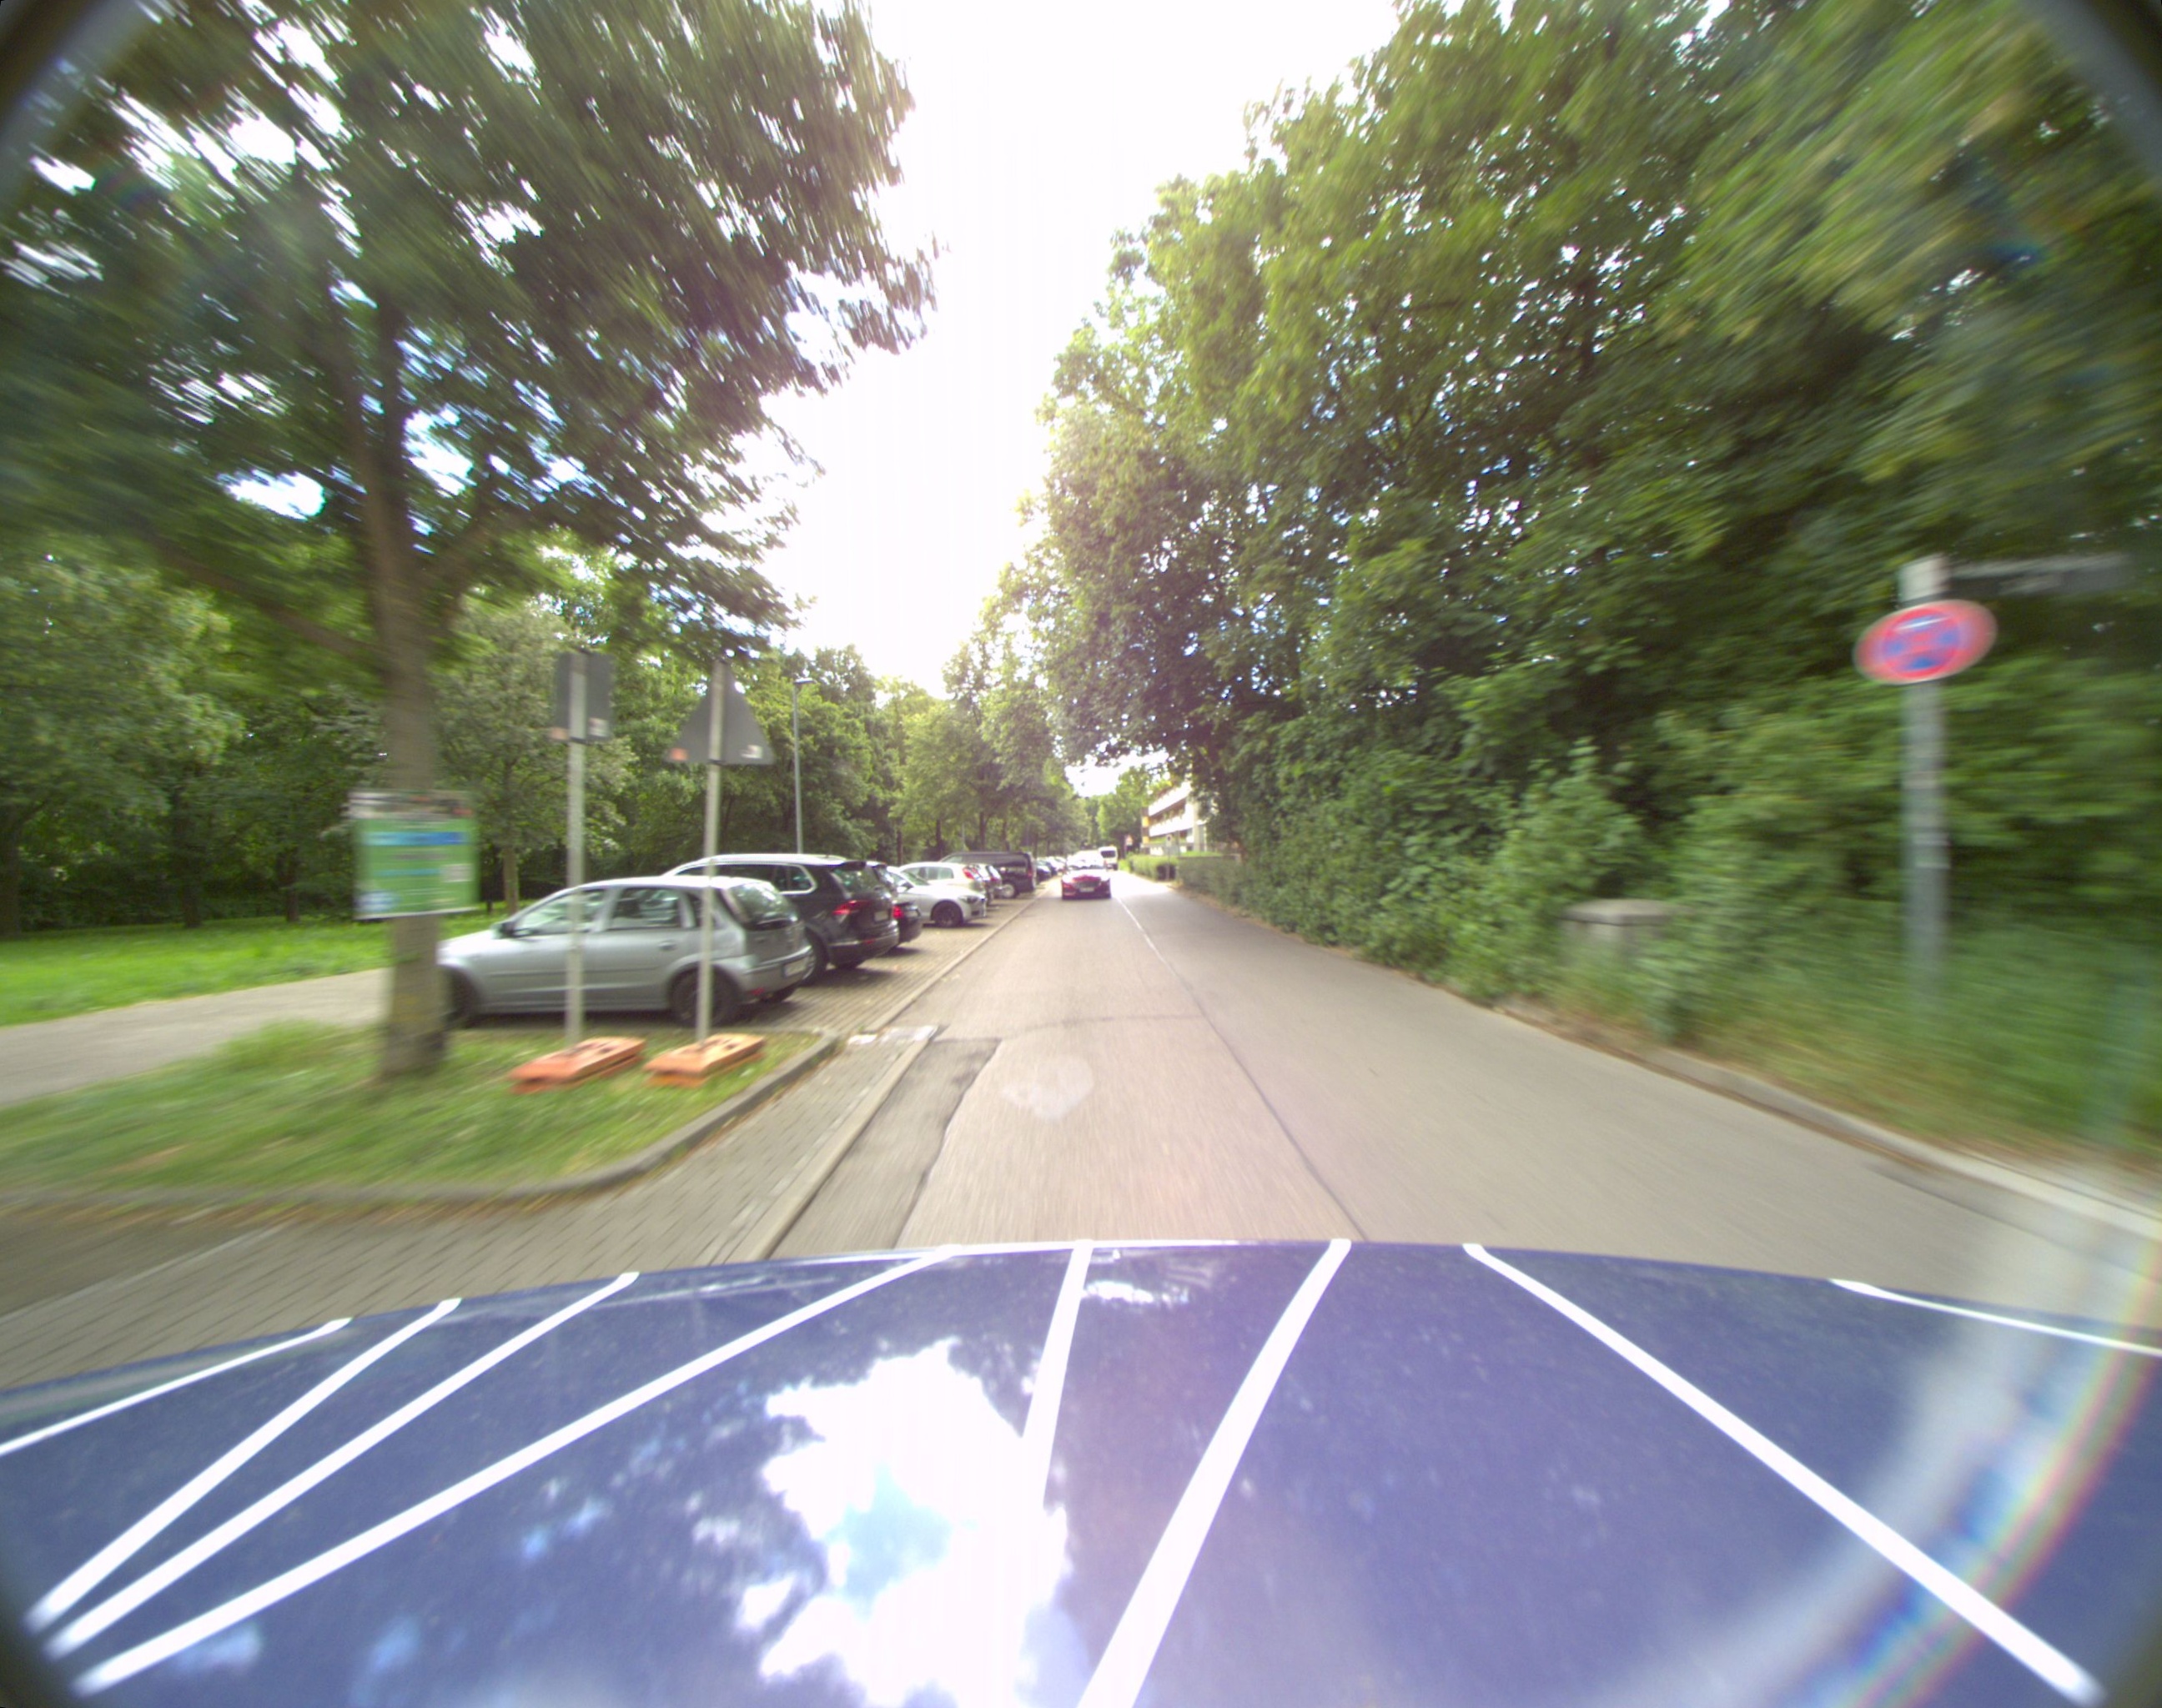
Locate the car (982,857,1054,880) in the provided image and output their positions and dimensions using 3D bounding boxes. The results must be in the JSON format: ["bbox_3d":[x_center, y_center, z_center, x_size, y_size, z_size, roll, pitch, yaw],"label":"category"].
[{"bbox_3d":[-4.257,1.000,51.533,4.647,1.508,1.983,-1,-1,2],"label":"car"}]

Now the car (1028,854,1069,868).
[{"bbox_3d":[-4.009,0.887,93.683,4.828,1.683,1.974,-1,0,4],"label":"car"}]

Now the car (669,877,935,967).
[{"bbox_3d":[-4.646,1.116,13.023,3.840,1.351,1.822,-1,1,4],"label":"car"}]

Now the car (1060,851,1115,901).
[{"bbox_3d":[0.240,0.805,30.127,1.918,1.707,5.038,-3,0,0],"label":"car"}]

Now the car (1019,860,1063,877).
[{"bbox_3d":[-3.677,1.355,70.415,3.849,1.507,1.881,-1,0,3],"label":"car"}]

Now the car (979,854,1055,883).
[{"bbox_3d":[-3.863,0.881,46.358,4.426,1.666,2.082,0,-1,0],"label":"car"}]

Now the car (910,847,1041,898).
[{"bbox_3d":[-4.175,0.719,30.748,4.966,2.002,2.166,0,0,2],"label":"car"}]

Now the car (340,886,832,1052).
[{"bbox_3d":[-4.806,1.088,7.808,3.841,1.395,1.852,-1,1,2],"label":"car"}]

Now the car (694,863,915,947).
[{"bbox_3d":[-5.559,1.005,15.647,3.842,1.549,1.819,-1,1,0],"label":"car"}]

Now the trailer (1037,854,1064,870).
[{"bbox_3d":[-3.574,0.924,88.608,3.037,1.780,1.563,-1,0,-2],"label":"trailer"}]

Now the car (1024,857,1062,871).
[{"bbox_3d":[-4.081,1.097,80.906,4.020,1.413,1.791,-1,0,-5],"label":"car"}]

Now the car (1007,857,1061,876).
[{"bbox_3d":[-3.651,0.978,59.337,4.082,1.448,1.851,-1,0,1],"label":"car"}]

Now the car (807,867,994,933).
[{"bbox_3d":[-4.205,1.055,18.189,3.997,1.422,1.935,-1,1,0],"label":"car"}]

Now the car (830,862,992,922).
[{"bbox_3d":[-4.583,1.017,20.908,3.996,1.519,1.811,-1,1,1],"label":"car"}]

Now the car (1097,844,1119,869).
[{"bbox_3d":[2.966,0.244,82.162,2.137,2.461,6.278,-3,0,2],"label":"car"}]

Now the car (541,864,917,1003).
[{"bbox_3d":[-4.547,0.989,10.263,4.132,1.640,1.980,-1,1,4],"label":"car"}]

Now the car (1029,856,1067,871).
[{"bbox_3d":[-3.643,1.061,83.321,4.124,1.539,1.860,-1,0,-2],"label":"car"}]

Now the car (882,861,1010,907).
[{"bbox_3d":[-4.507,0.989,25.750,3.970,1.502,1.794,0,0,2],"label":"car"}]

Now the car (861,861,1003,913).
[{"bbox_3d":[-4.512,0.988,23.413,3.970,1.502,1.763,0,0,3],"label":"car"}]
